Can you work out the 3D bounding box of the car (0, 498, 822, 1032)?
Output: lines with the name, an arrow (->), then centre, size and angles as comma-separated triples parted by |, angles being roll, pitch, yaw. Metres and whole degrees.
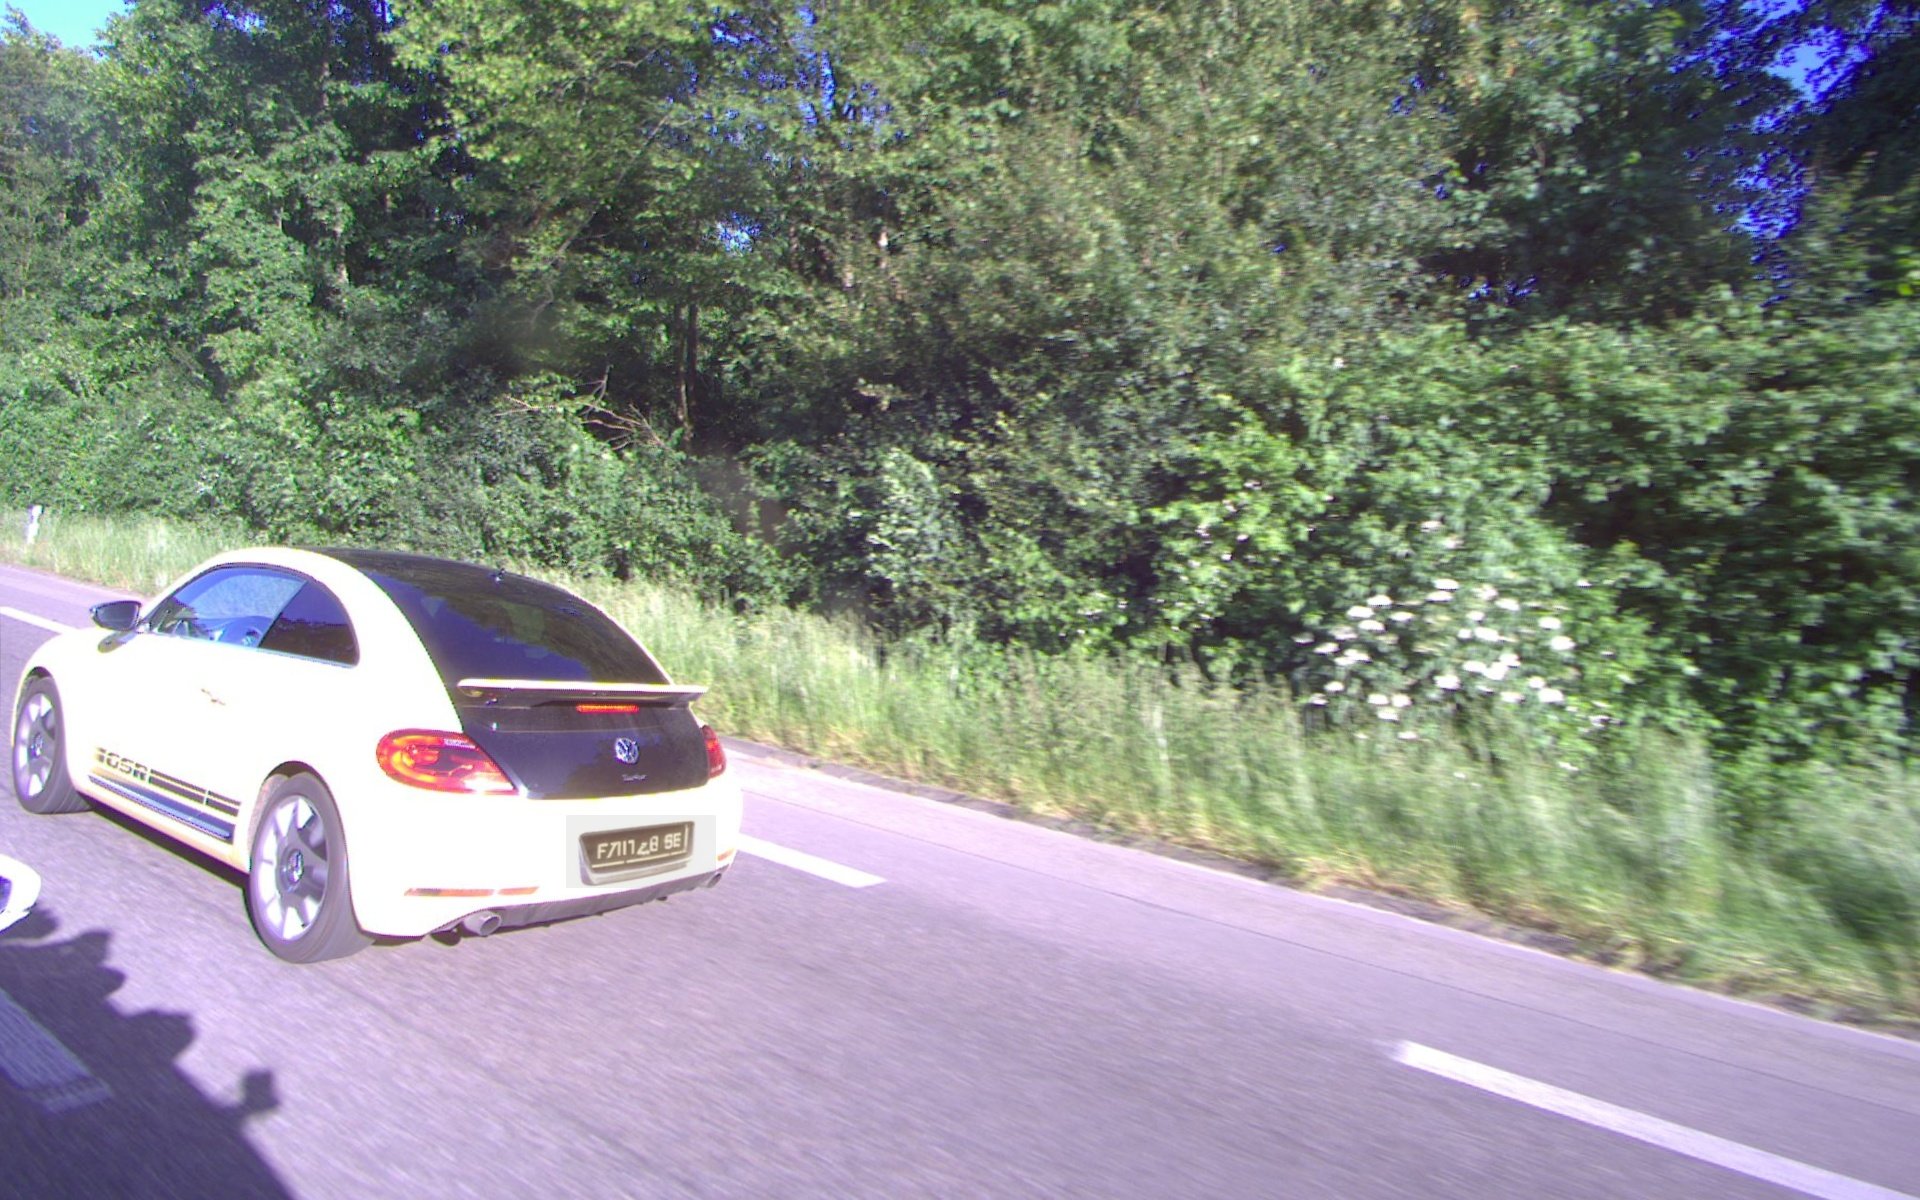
car -> -3.029, 0.478, 5.052 | 4.283, 1.479, 1.883 | 7, -1, 31
